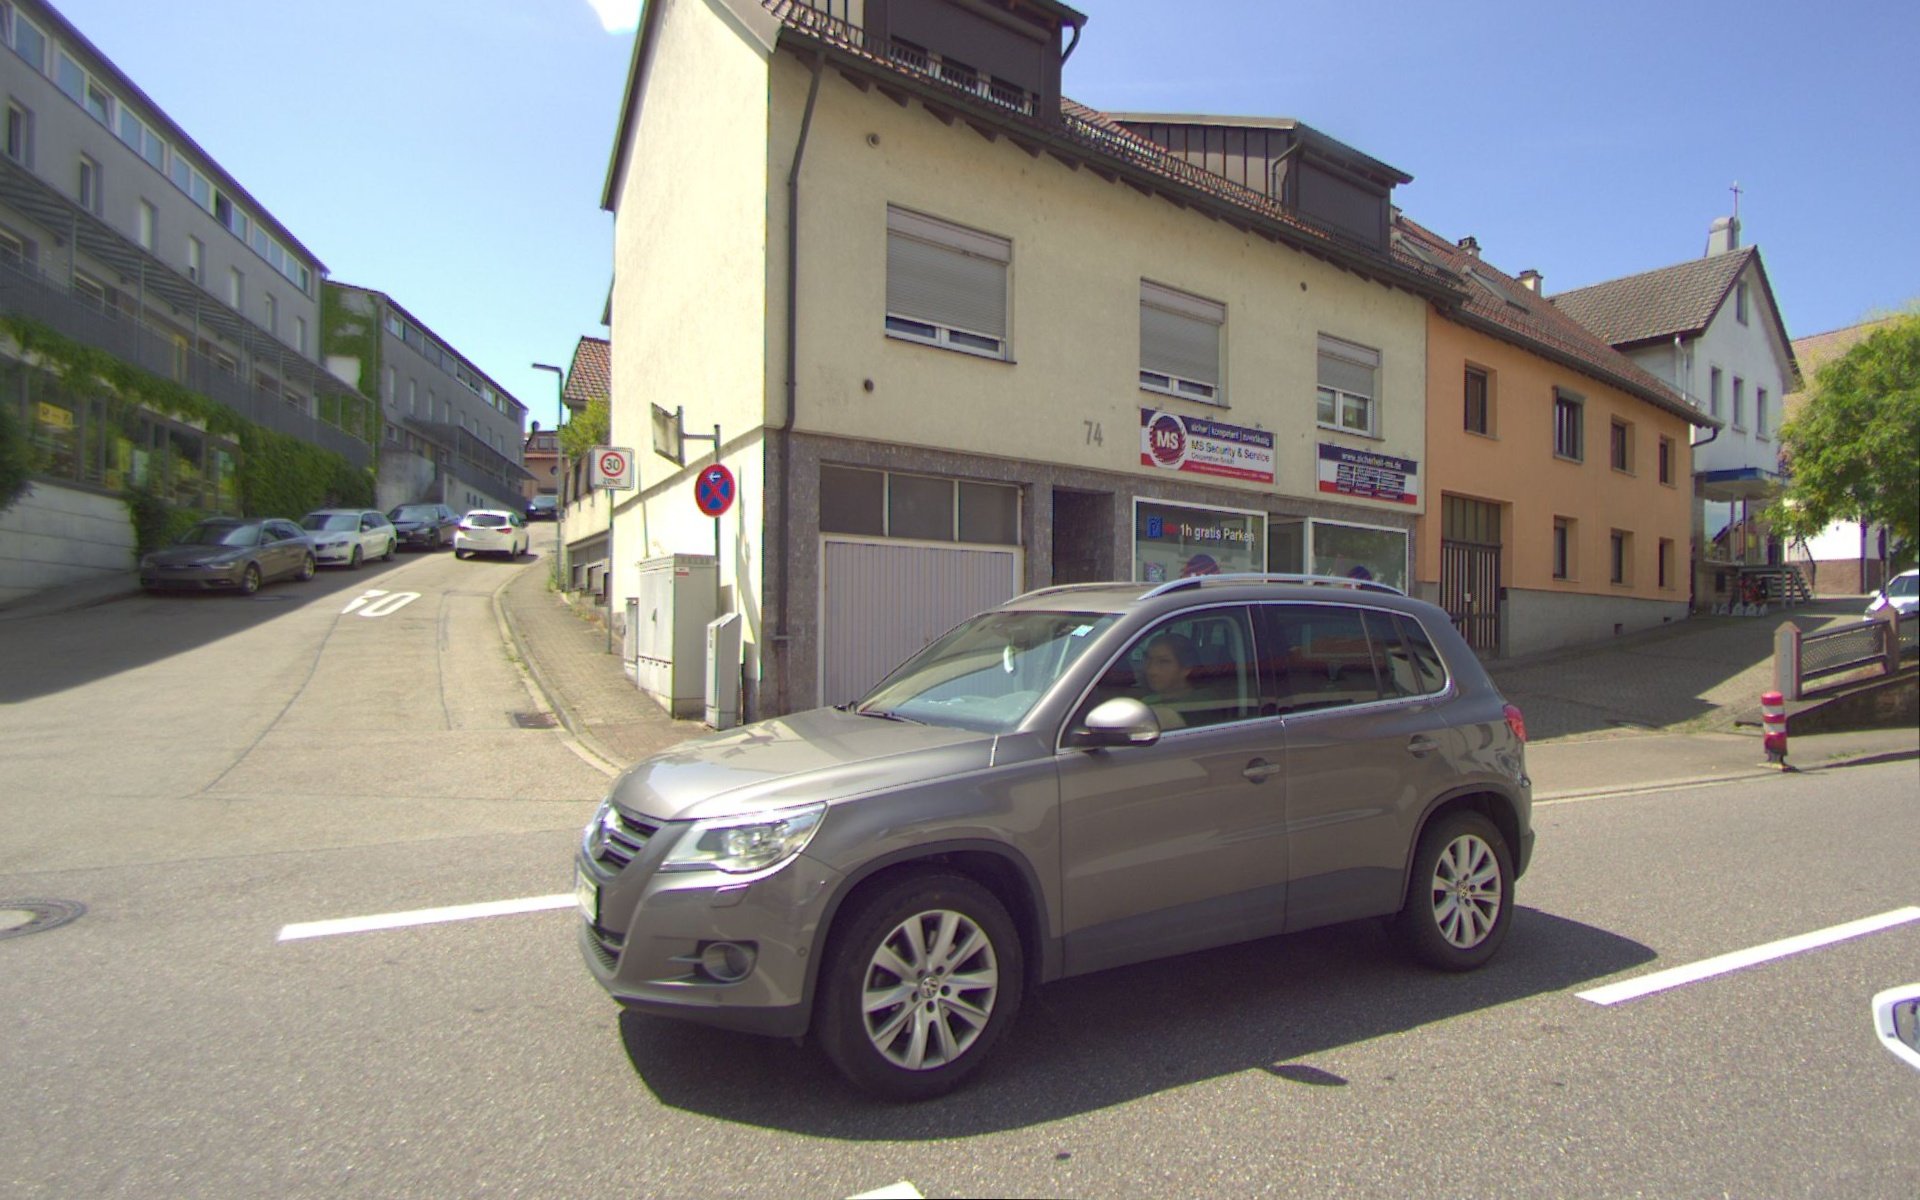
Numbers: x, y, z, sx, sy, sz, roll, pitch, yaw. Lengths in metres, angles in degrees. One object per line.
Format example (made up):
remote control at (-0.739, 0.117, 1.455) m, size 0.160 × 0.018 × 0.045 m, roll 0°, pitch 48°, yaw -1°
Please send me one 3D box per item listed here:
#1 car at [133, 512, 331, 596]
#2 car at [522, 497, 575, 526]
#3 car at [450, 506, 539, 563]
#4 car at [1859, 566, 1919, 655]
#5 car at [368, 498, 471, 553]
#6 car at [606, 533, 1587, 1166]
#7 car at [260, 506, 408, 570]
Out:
car at (-15.170, -1.059, 21.254) m, size 1.728 × 1.441 × 4.491 m, roll 1°, pitch 6°, yaw -13°
car at (-23.288, -5.029, 56.945) m, size 1.965 × 1.441 × 4.493 m, roll 1°, pitch 6°, yaw -12°
car at (-14.644, -2.117, 31.785) m, size 1.783 × 1.487 × 3.987 m, roll 3°, pitch 6°, yaw -14°
car at (20.558, 0.164, 20.944) m, size 3.811 × 1.564 × 1.685 m, roll -5°, pitch 3°, yaw -31°
car at (-17.812, -2.524, 33.340) m, size 1.857 × 1.582 × 4.491 m, roll 1°, pitch 6°, yaw -13°
car at (0.693, 0.707, 4.381) m, size 3.999 × 1.657 × 1.750 m, roll 1°, pitch -2°, yaw -29°
car at (-16.591, -1.730, 26.904) m, size 1.966 × 1.441 × 4.491 m, roll 1°, pitch 6°, yaw -13°
